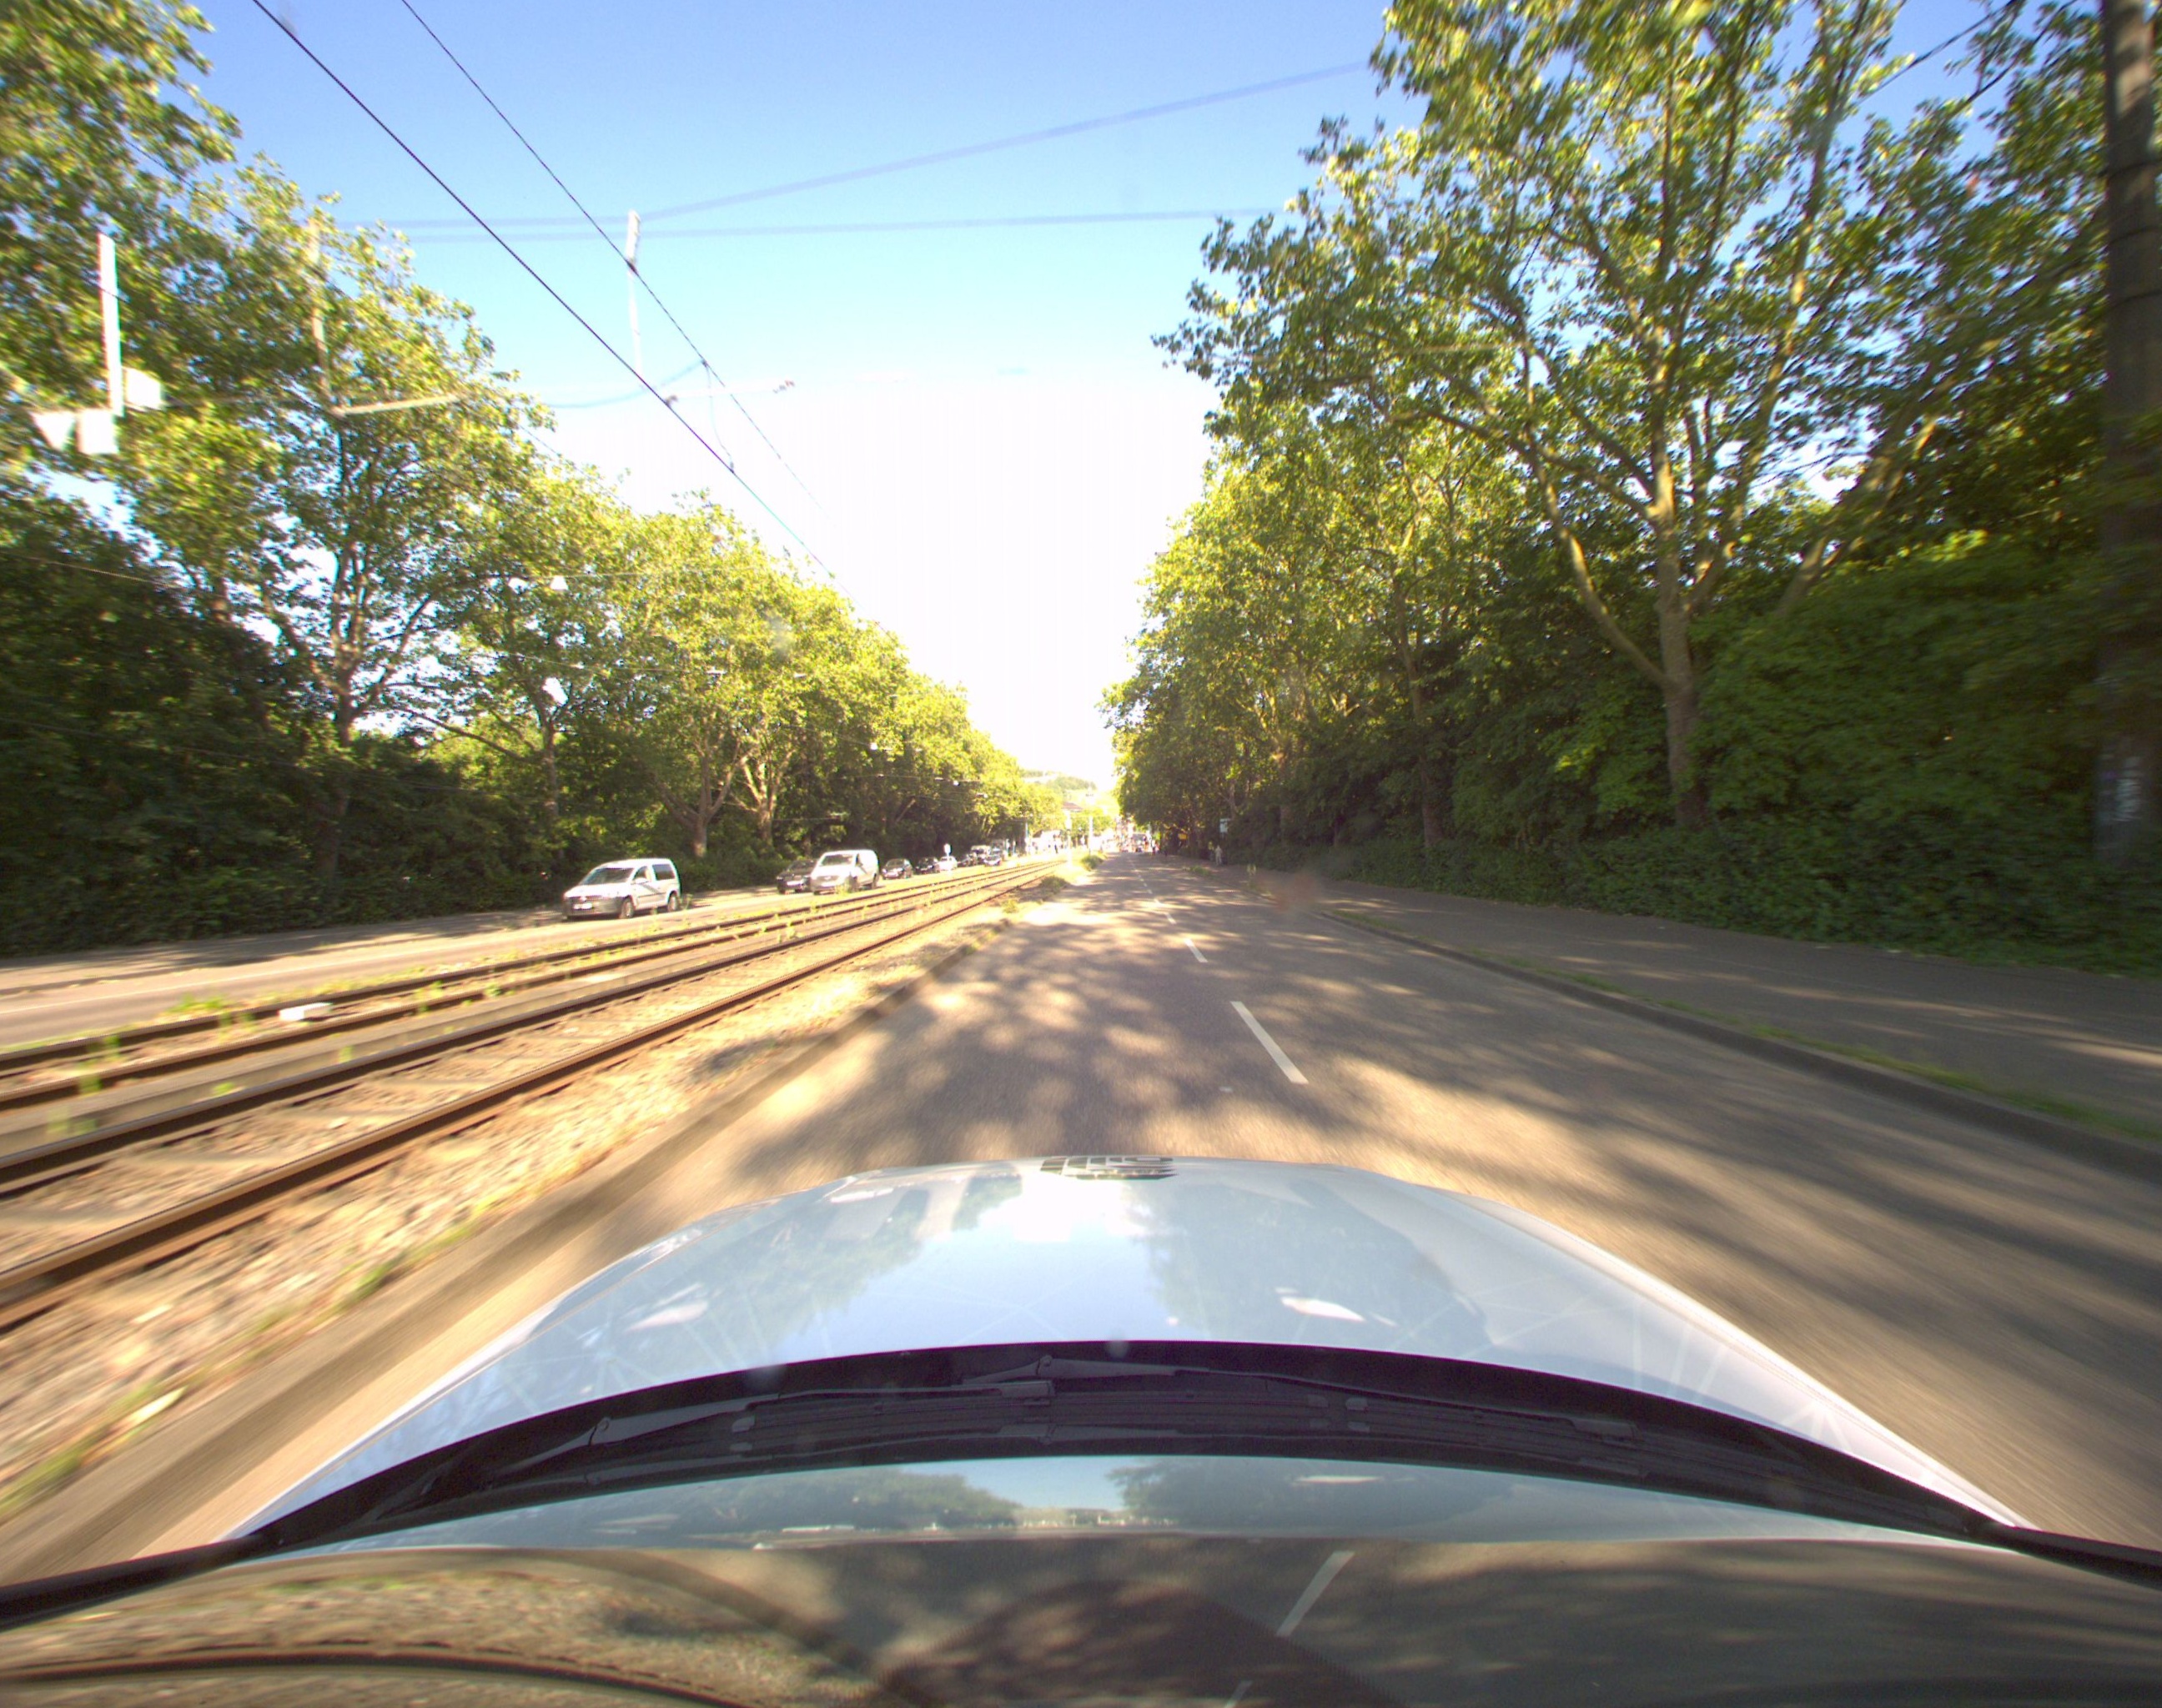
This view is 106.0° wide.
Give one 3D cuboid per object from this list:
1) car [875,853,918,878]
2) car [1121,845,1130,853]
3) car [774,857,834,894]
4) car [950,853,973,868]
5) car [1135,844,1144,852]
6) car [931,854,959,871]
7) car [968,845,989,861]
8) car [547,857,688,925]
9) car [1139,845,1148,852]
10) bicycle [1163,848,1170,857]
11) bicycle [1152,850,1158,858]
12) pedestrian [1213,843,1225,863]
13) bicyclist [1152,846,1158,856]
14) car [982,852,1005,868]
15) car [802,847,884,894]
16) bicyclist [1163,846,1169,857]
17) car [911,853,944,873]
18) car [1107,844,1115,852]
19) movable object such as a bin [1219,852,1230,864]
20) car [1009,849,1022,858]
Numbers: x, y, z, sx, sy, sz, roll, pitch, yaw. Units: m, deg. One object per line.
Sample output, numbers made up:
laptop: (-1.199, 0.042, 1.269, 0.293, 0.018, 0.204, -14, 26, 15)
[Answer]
car: (-13.658, 0.843, 60.598, 1.987, 1.697, 4.745, -2, 0, 1)
car: (11.965, -1.426, 219.734, 2.384, 1.999, 5.308, -2, 0, 2)
car: (-13.809, 1.021, 40.766, 1.738, 1.636, 3.996, -2, 1, -3)
car: (-14.142, 0.733, 96.510, 1.987, 1.697, 4.745, -2, 0, 1)
car: (15.443, -1.617, 215.035, 2.384, 1.999, 5.308, -2, 0, 2)
car: (-14.169, 0.878, 85.142, 1.987, 1.697, 4.745, -2, 0, 1)
car: (-13.972, -0.133, 110.918, 1.987, 2.164, 5.815, -2, 0, 1)
car: (-14.368, 1.062, 25.572, 1.736, 1.743, 4.513, -5, 1, -1)
car: (17.208, -1.552, 224.245, 2.384, 1.999, 5.308, -2, 0, 2)
bicycle: (12.879, -0.167, 123.198, 0.883, 1.321, 2.641, -2, 0, 2)
bicycle: (13.404, -0.049, 147.718, 0.883, 1.321, 2.641, -2, 0, 2)
pedestrian: (10.688, -0.079, 63.143, 0.800, 1.546, 0.815, -2, 0, 5)
bicyclist: (13.398, -0.490, 147.757, 0.883, 1.774, 1.223, -2, 0, 2)
car: (-9.981, 0.712, 92.777, 1.987, 1.697, 4.745, -2, 0, 1)
car: (-10.719, 0.697, 37.116, 1.987, 1.844, 5.302, -4, 0, 1)
bicyclist: (12.873, -0.433, 123.296, 0.883, 1.638, 1.165, -2, 0, 2)
car: (-13.847, 0.768, 73.545, 1.987, 1.697, 4.745, -2, 0, 1)
car: (8.437, -1.678, 229.475, 2.384, 1.999, 5.308, -2, 0, 2)
movable object such as a bin: (10.989, 0.298, 62.317, 0.800, 0.947, 0.657, -2, 0, 5)
car: (-12.666, -0.147, 158.093, 1.987, 1.697, 4.745, -2, 0, 1)
